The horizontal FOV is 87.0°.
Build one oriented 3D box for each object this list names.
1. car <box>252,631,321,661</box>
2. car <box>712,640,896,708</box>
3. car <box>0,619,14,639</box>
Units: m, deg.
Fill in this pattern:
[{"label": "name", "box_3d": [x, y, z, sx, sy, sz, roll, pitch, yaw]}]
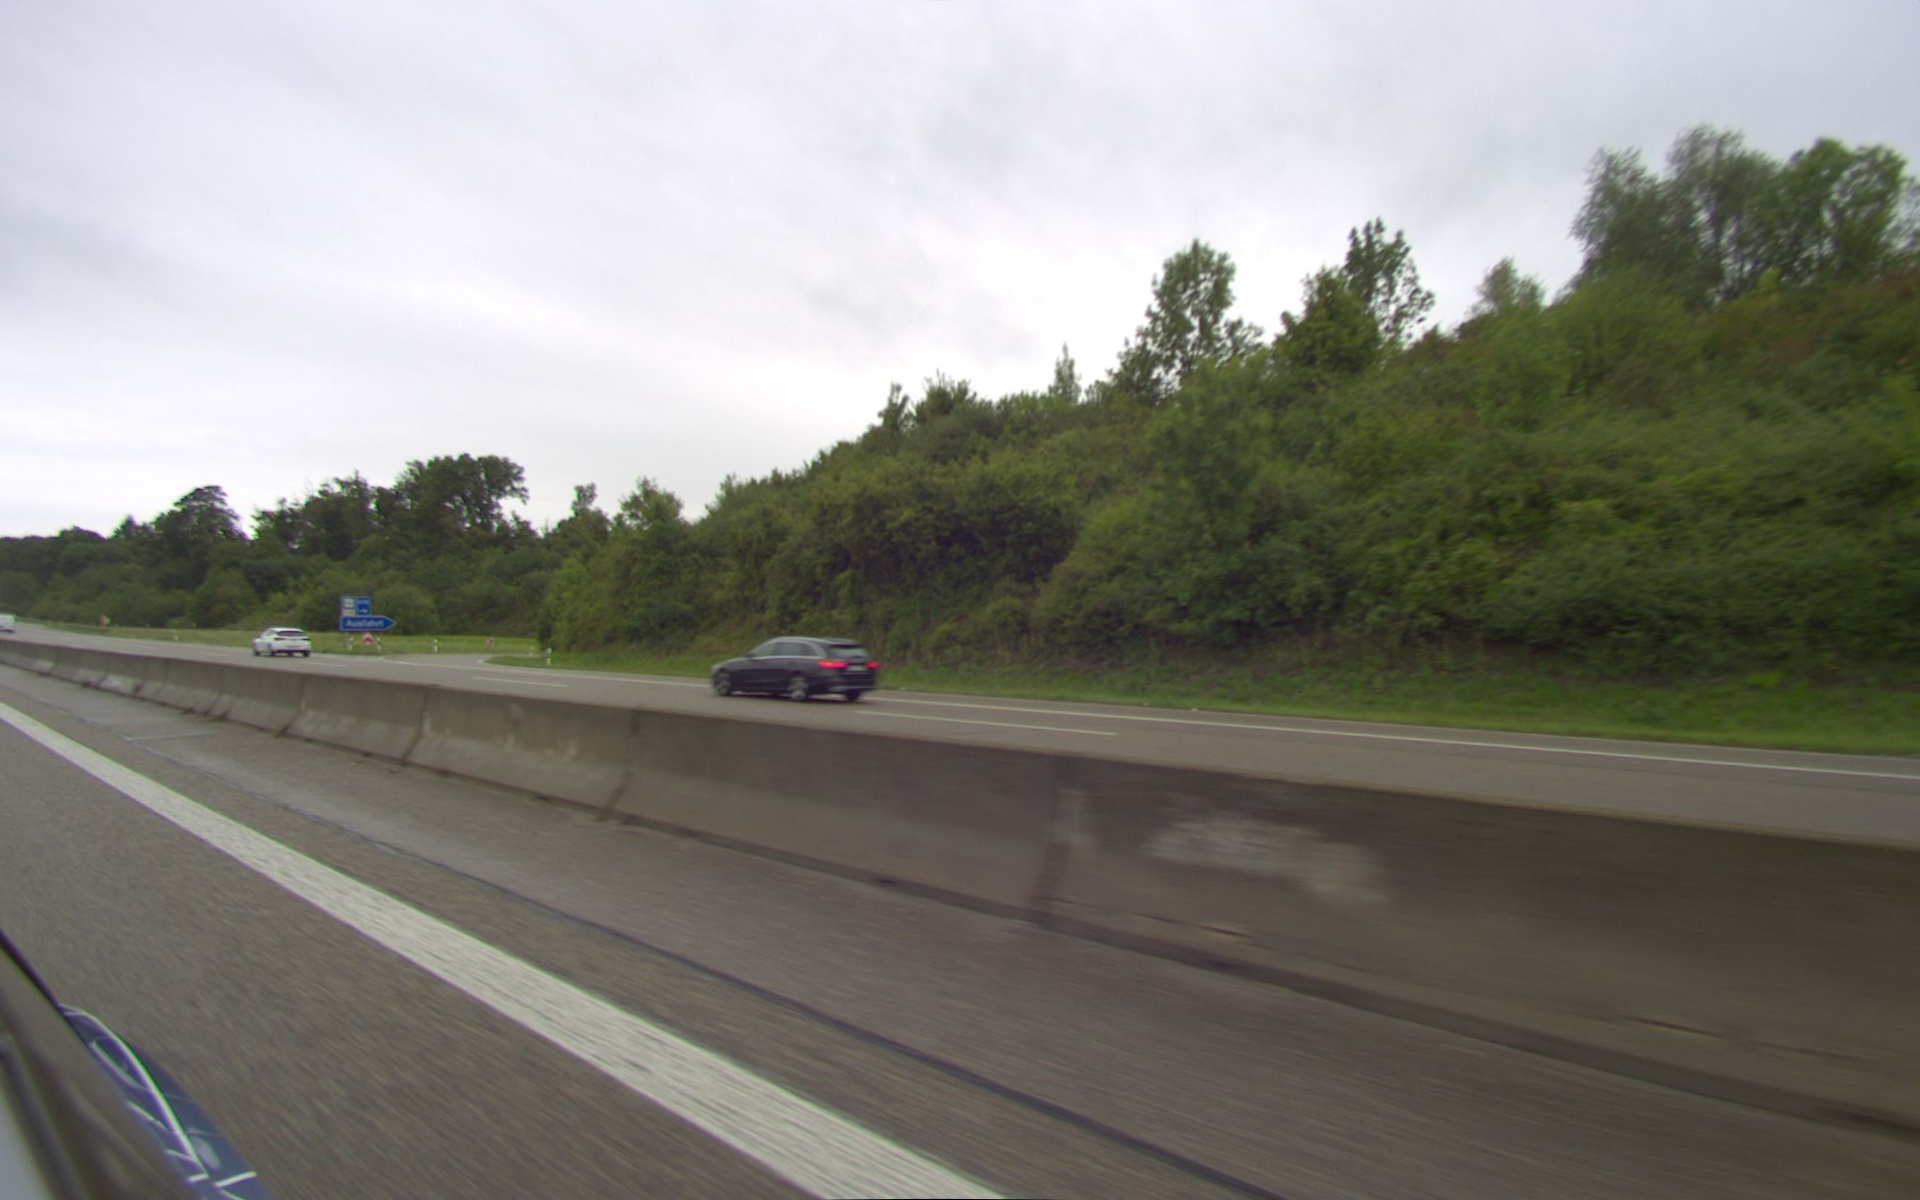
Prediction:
[{"label": "car", "box_3d": [-35.142, 2.382, 52.766, 4.626, 1.461, 1.779, -2, -3, 41]}, {"label": "car", "box_3d": [-3.703, 1.649, 23.547, 4.466, 1.395, 1.780, -1, -3, 41]}, {"label": "car", "box_3d": [-107.286, 3.252, 112.842, 5.757, 2.028, 1.974, -1, 2, 40]}]
